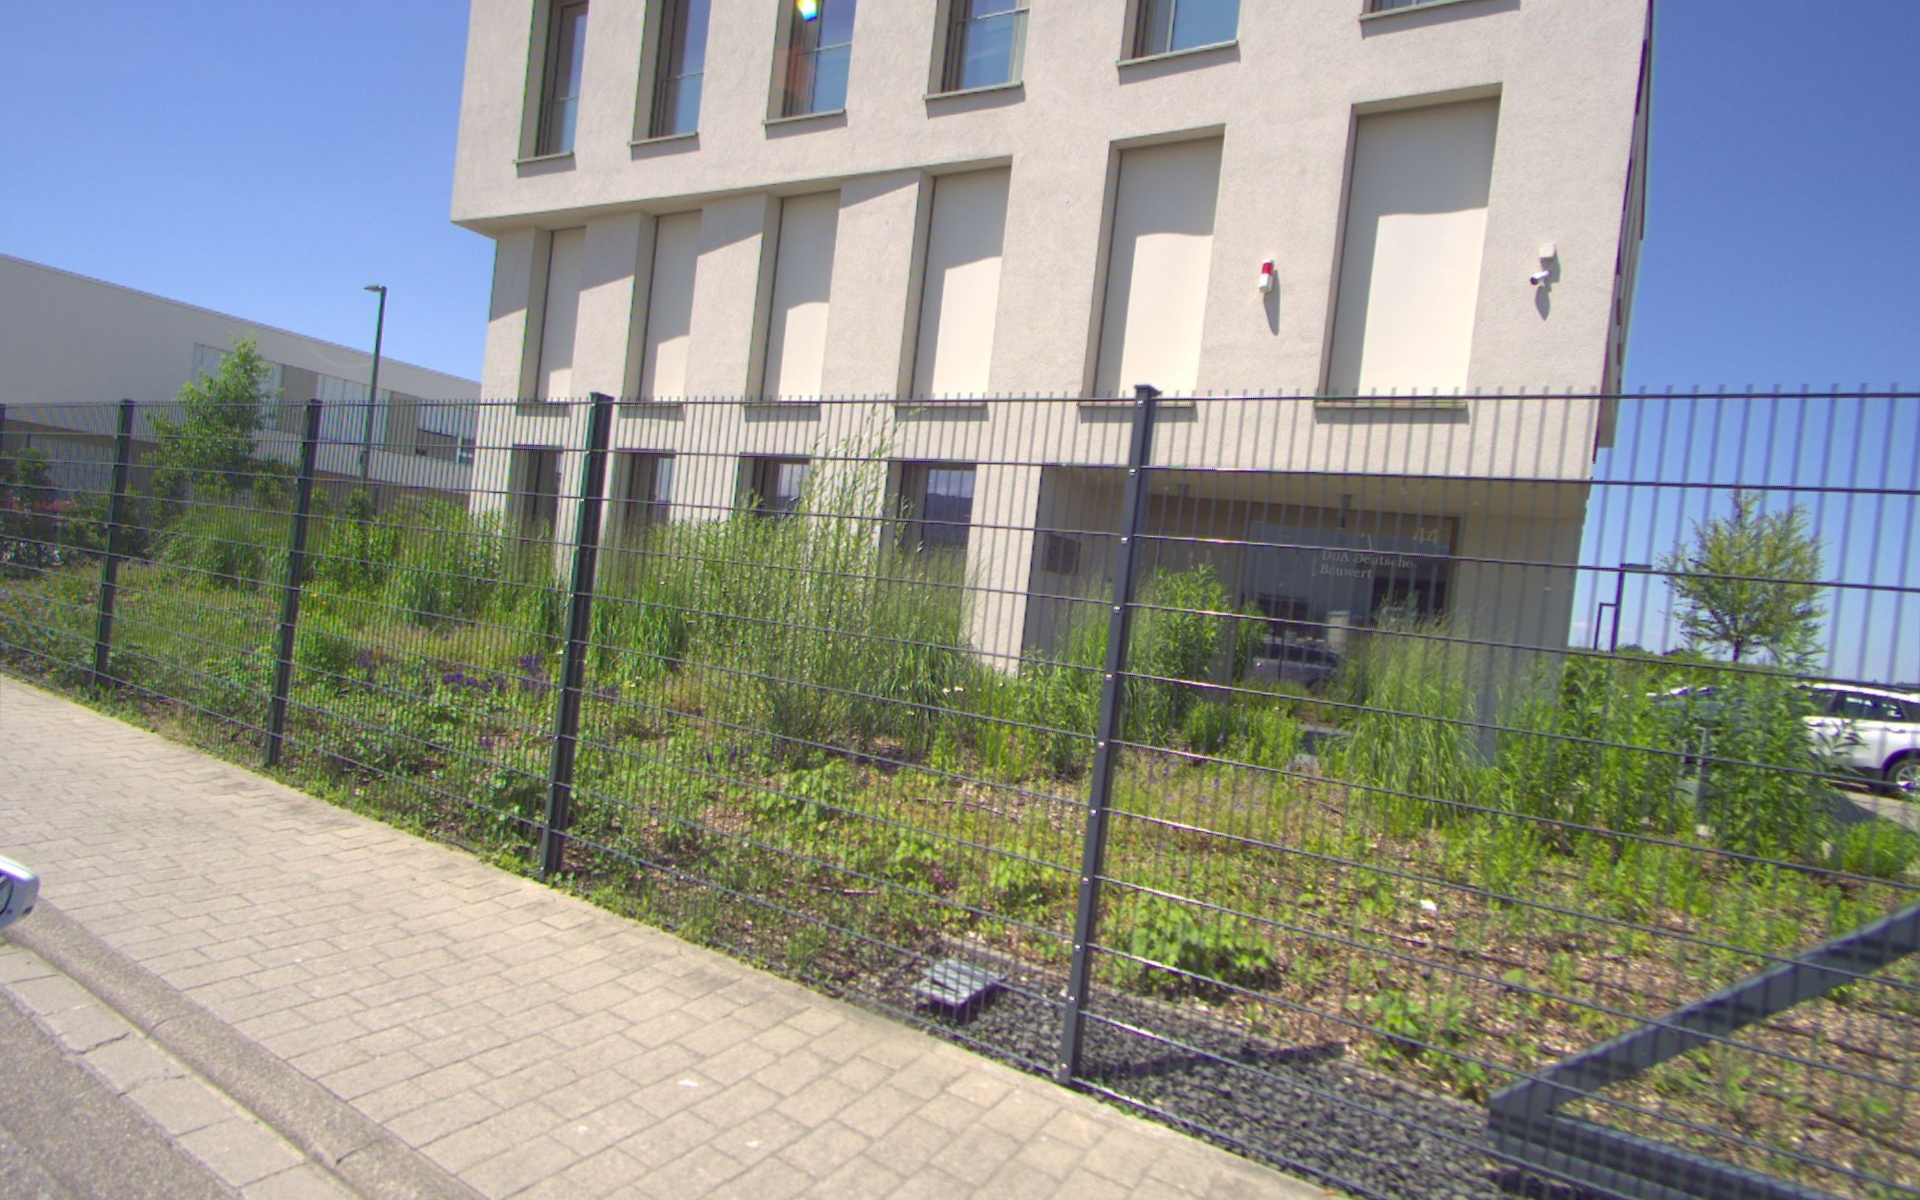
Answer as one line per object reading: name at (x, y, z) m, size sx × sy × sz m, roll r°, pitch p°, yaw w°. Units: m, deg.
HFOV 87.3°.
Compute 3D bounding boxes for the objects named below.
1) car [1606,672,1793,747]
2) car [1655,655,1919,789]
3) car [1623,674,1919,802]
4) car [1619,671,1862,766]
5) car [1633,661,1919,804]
car at (23.257, 3.394, 31.895) m, size 4.443 × 1.505 × 1.996 m, roll 8°, pitch 1°, yaw 31°
car at (17.069, 2.418, 20.483) m, size 4.443 × 1.915 × 1.996 m, roll 8°, pitch 2°, yaw 31°
car at (15.106, 2.471, 18.631) m, size 4.443 × 1.505 × 1.996 m, roll 8°, pitch 1°, yaw 31°
car at (19.452, 2.895, 25.382) m, size 4.443 × 1.505 × 1.996 m, roll 8°, pitch 1°, yaw 31°
car at (13.895, 2.148, 16.503) m, size 4.443 × 1.608 × 1.996 m, roll 8°, pitch 1°, yaw 31°
